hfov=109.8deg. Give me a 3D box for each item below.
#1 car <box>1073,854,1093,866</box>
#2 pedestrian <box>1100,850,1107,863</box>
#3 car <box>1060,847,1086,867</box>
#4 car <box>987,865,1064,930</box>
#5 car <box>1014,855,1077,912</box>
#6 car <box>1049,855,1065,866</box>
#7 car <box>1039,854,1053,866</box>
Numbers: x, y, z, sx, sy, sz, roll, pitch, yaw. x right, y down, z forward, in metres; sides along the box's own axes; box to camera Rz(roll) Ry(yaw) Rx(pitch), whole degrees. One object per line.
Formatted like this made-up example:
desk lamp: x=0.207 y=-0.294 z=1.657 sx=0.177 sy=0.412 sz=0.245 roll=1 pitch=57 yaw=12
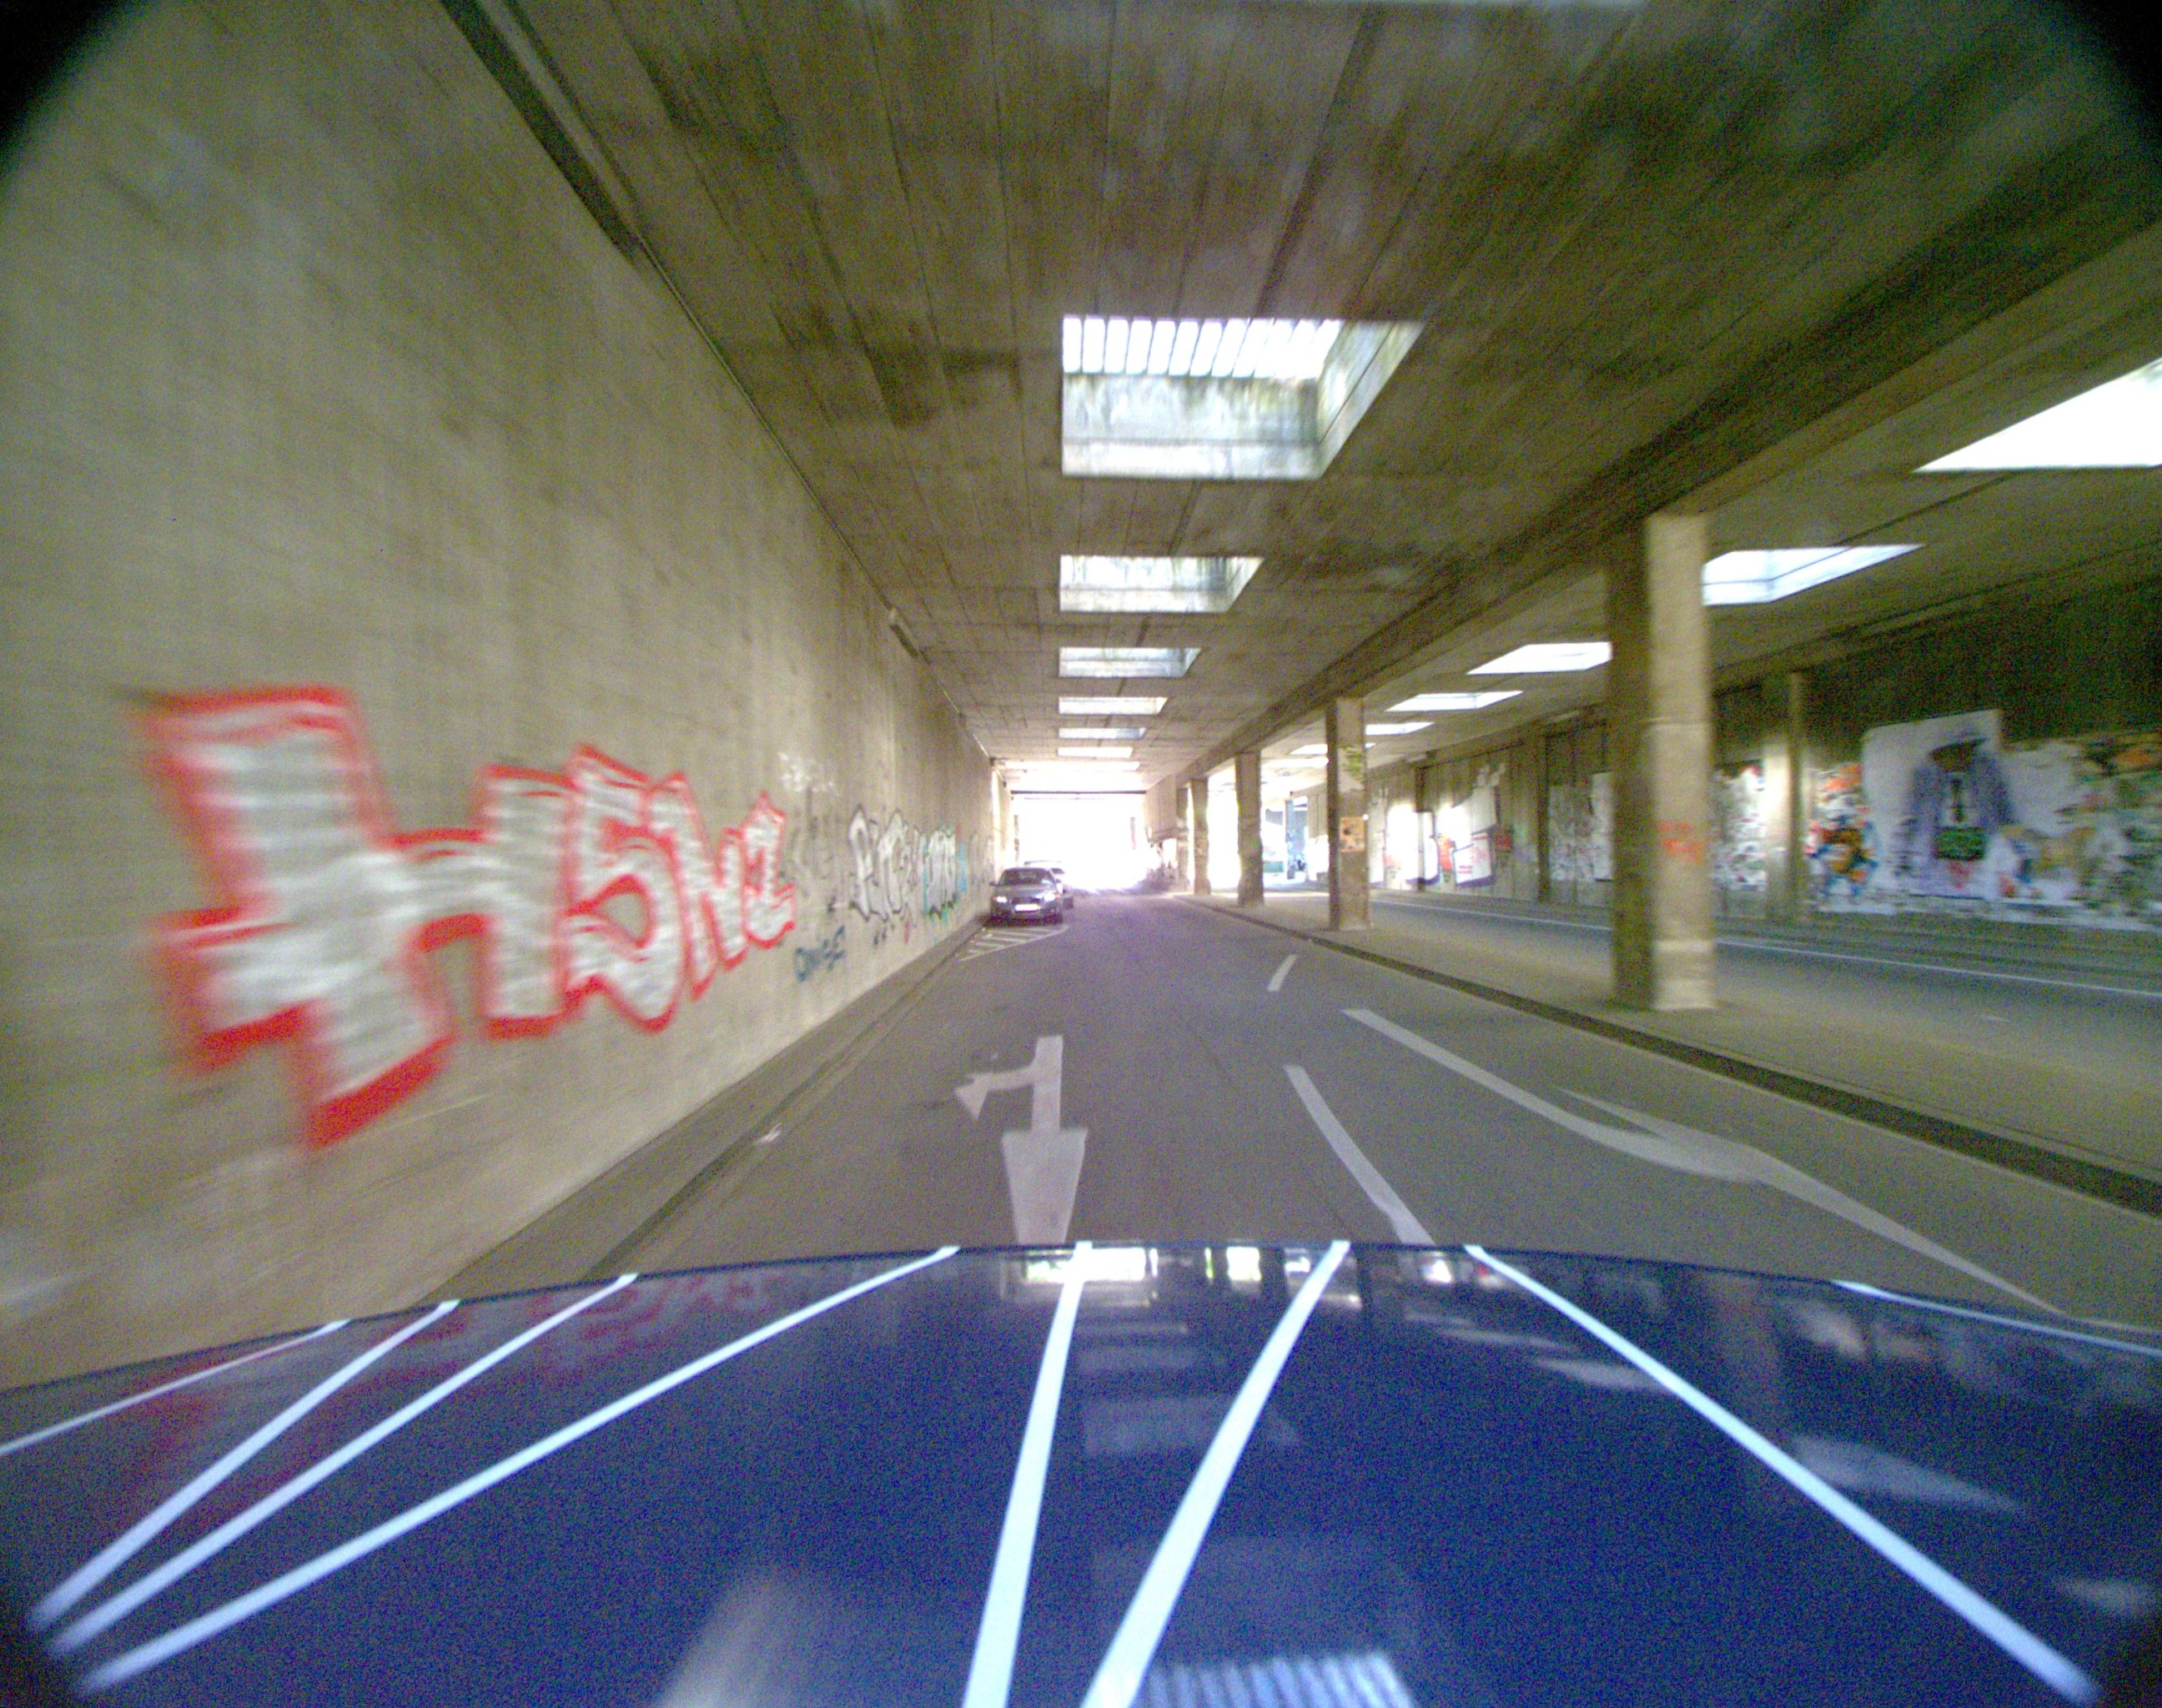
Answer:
car: x=0.256 y=0.726 z=93.480 sx=1.693 sy=1.454 sz=3.996 roll=-2 pitch=0 yaw=-11
pedestrian: x=2.589 y=0.307 z=88.595 sx=0.632 sy=1.567 sz=0.532 roll=-1 pitch=1 yaw=22
car: x=-1.077 y=0.363 z=99.216 sx=2.221 sy=2.437 sz=5.089 roll=-2 pitch=0 yaw=-13
car: x=-1.372 y=1.040 z=19.731 sx=1.706 sy=1.366 sz=4.372 roll=-2 pitch=0 yaw=-3
car: x=-1.171 y=0.916 z=25.374 sx=1.858 sy=1.656 sz=4.370 roll=-2 pitch=0 yaw=-2
car: x=-3.537 y=0.950 z=110.988 sx=1.696 sy=1.548 sz=3.818 roll=-2 pitch=0 yaw=-11
car: x=-5.767 y=0.951 z=126.009 sx=1.777 sy=1.870 sz=3.996 roll=-2 pitch=0 yaw=-10
